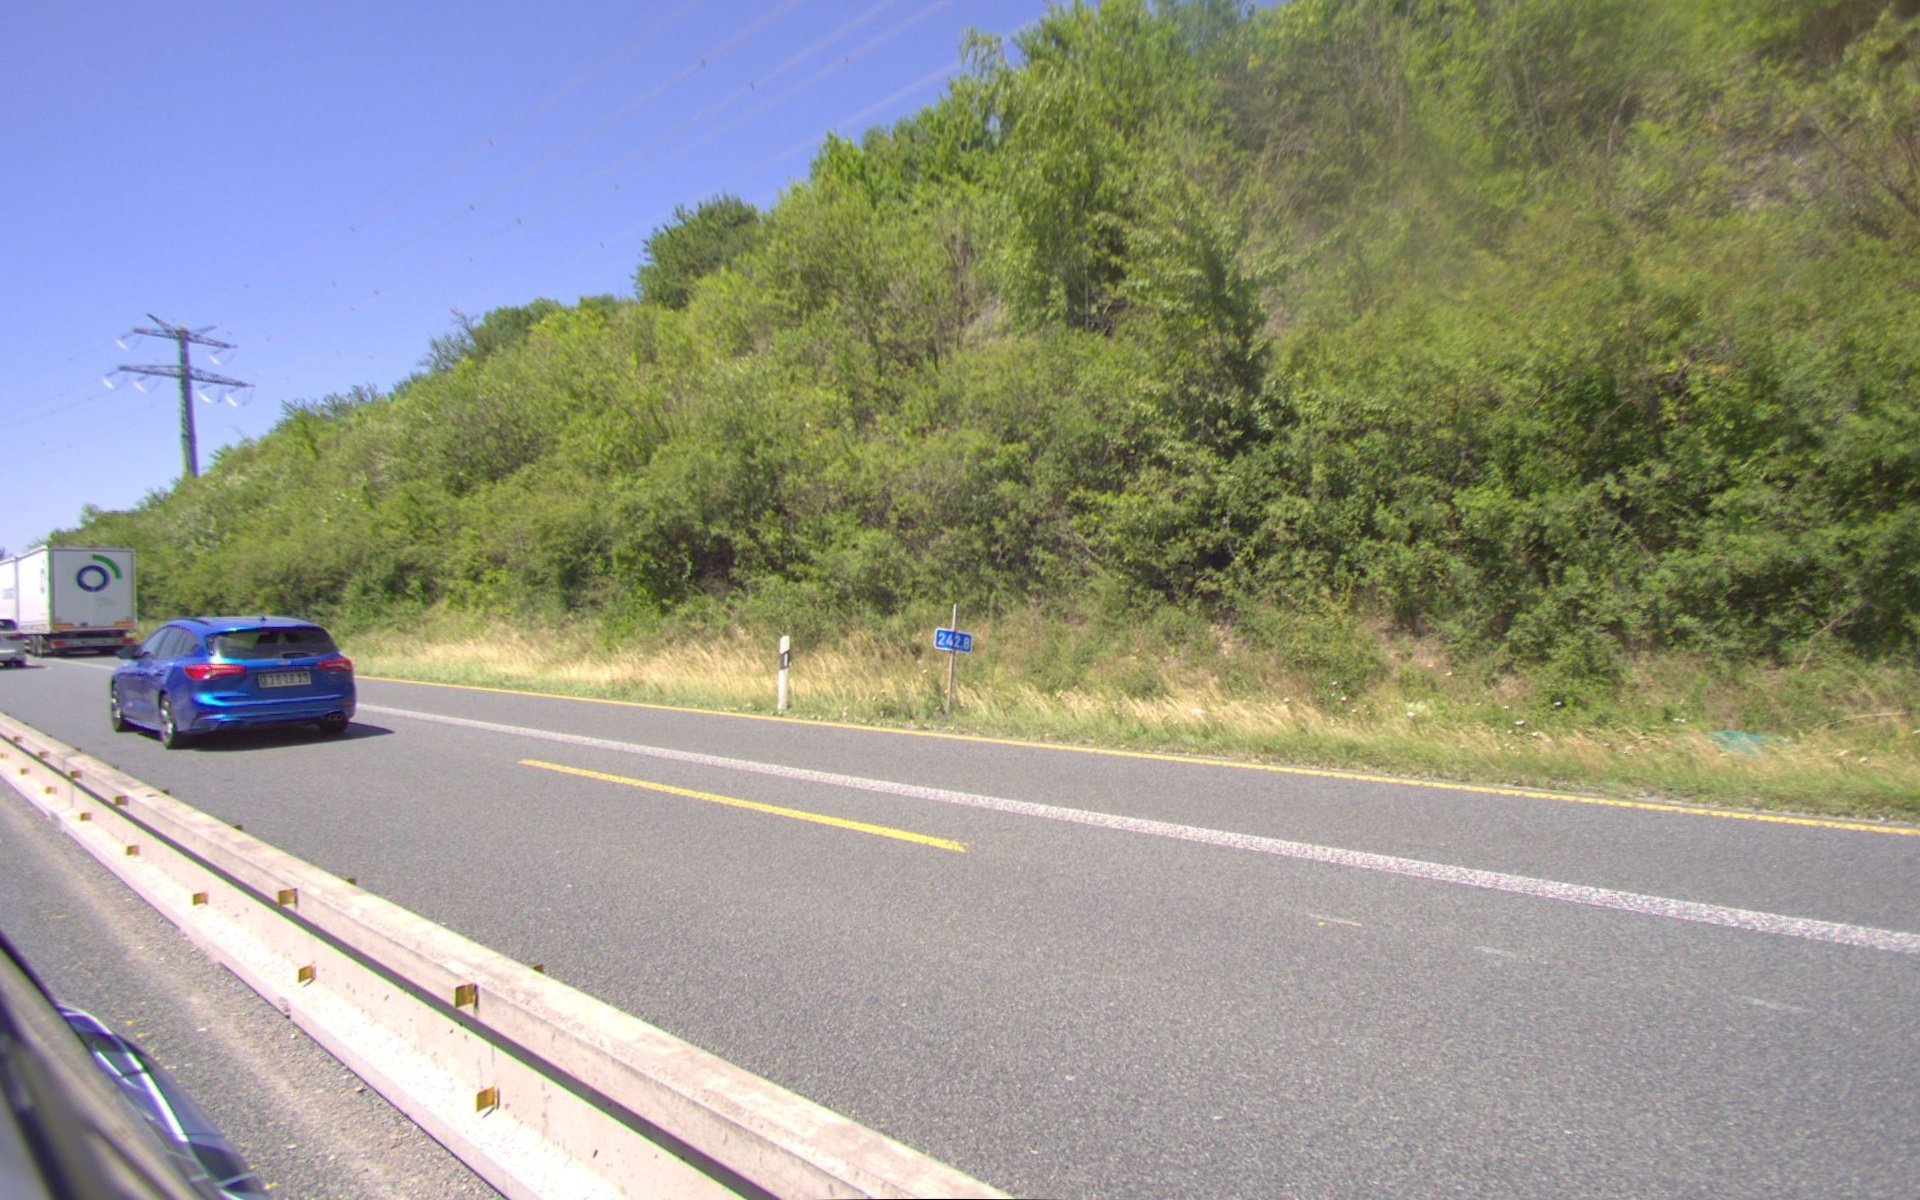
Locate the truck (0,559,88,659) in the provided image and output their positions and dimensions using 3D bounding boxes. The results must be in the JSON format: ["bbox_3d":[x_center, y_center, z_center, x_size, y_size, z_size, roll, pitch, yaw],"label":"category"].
[{"bbox_3d":[-41.569,0.430,45.206,10.345,4.022,2.385,-1,0,41],"label":"truck"}]

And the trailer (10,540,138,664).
[{"bbox_3d":[-34.392,0.110,39.132,8.444,4.345,2.610,-1,0,42],"label":"trailer"}]

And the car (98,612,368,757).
[{"bbox_3d":[-8.938,0.895,12.315,4.167,1.436,1.695,-1,0,40],"label":"car"}]

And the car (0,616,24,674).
[{"bbox_3d":[-29.394,1.333,30.123,4.294,1.644,1.745,-1,0,40],"label":"car"}]
